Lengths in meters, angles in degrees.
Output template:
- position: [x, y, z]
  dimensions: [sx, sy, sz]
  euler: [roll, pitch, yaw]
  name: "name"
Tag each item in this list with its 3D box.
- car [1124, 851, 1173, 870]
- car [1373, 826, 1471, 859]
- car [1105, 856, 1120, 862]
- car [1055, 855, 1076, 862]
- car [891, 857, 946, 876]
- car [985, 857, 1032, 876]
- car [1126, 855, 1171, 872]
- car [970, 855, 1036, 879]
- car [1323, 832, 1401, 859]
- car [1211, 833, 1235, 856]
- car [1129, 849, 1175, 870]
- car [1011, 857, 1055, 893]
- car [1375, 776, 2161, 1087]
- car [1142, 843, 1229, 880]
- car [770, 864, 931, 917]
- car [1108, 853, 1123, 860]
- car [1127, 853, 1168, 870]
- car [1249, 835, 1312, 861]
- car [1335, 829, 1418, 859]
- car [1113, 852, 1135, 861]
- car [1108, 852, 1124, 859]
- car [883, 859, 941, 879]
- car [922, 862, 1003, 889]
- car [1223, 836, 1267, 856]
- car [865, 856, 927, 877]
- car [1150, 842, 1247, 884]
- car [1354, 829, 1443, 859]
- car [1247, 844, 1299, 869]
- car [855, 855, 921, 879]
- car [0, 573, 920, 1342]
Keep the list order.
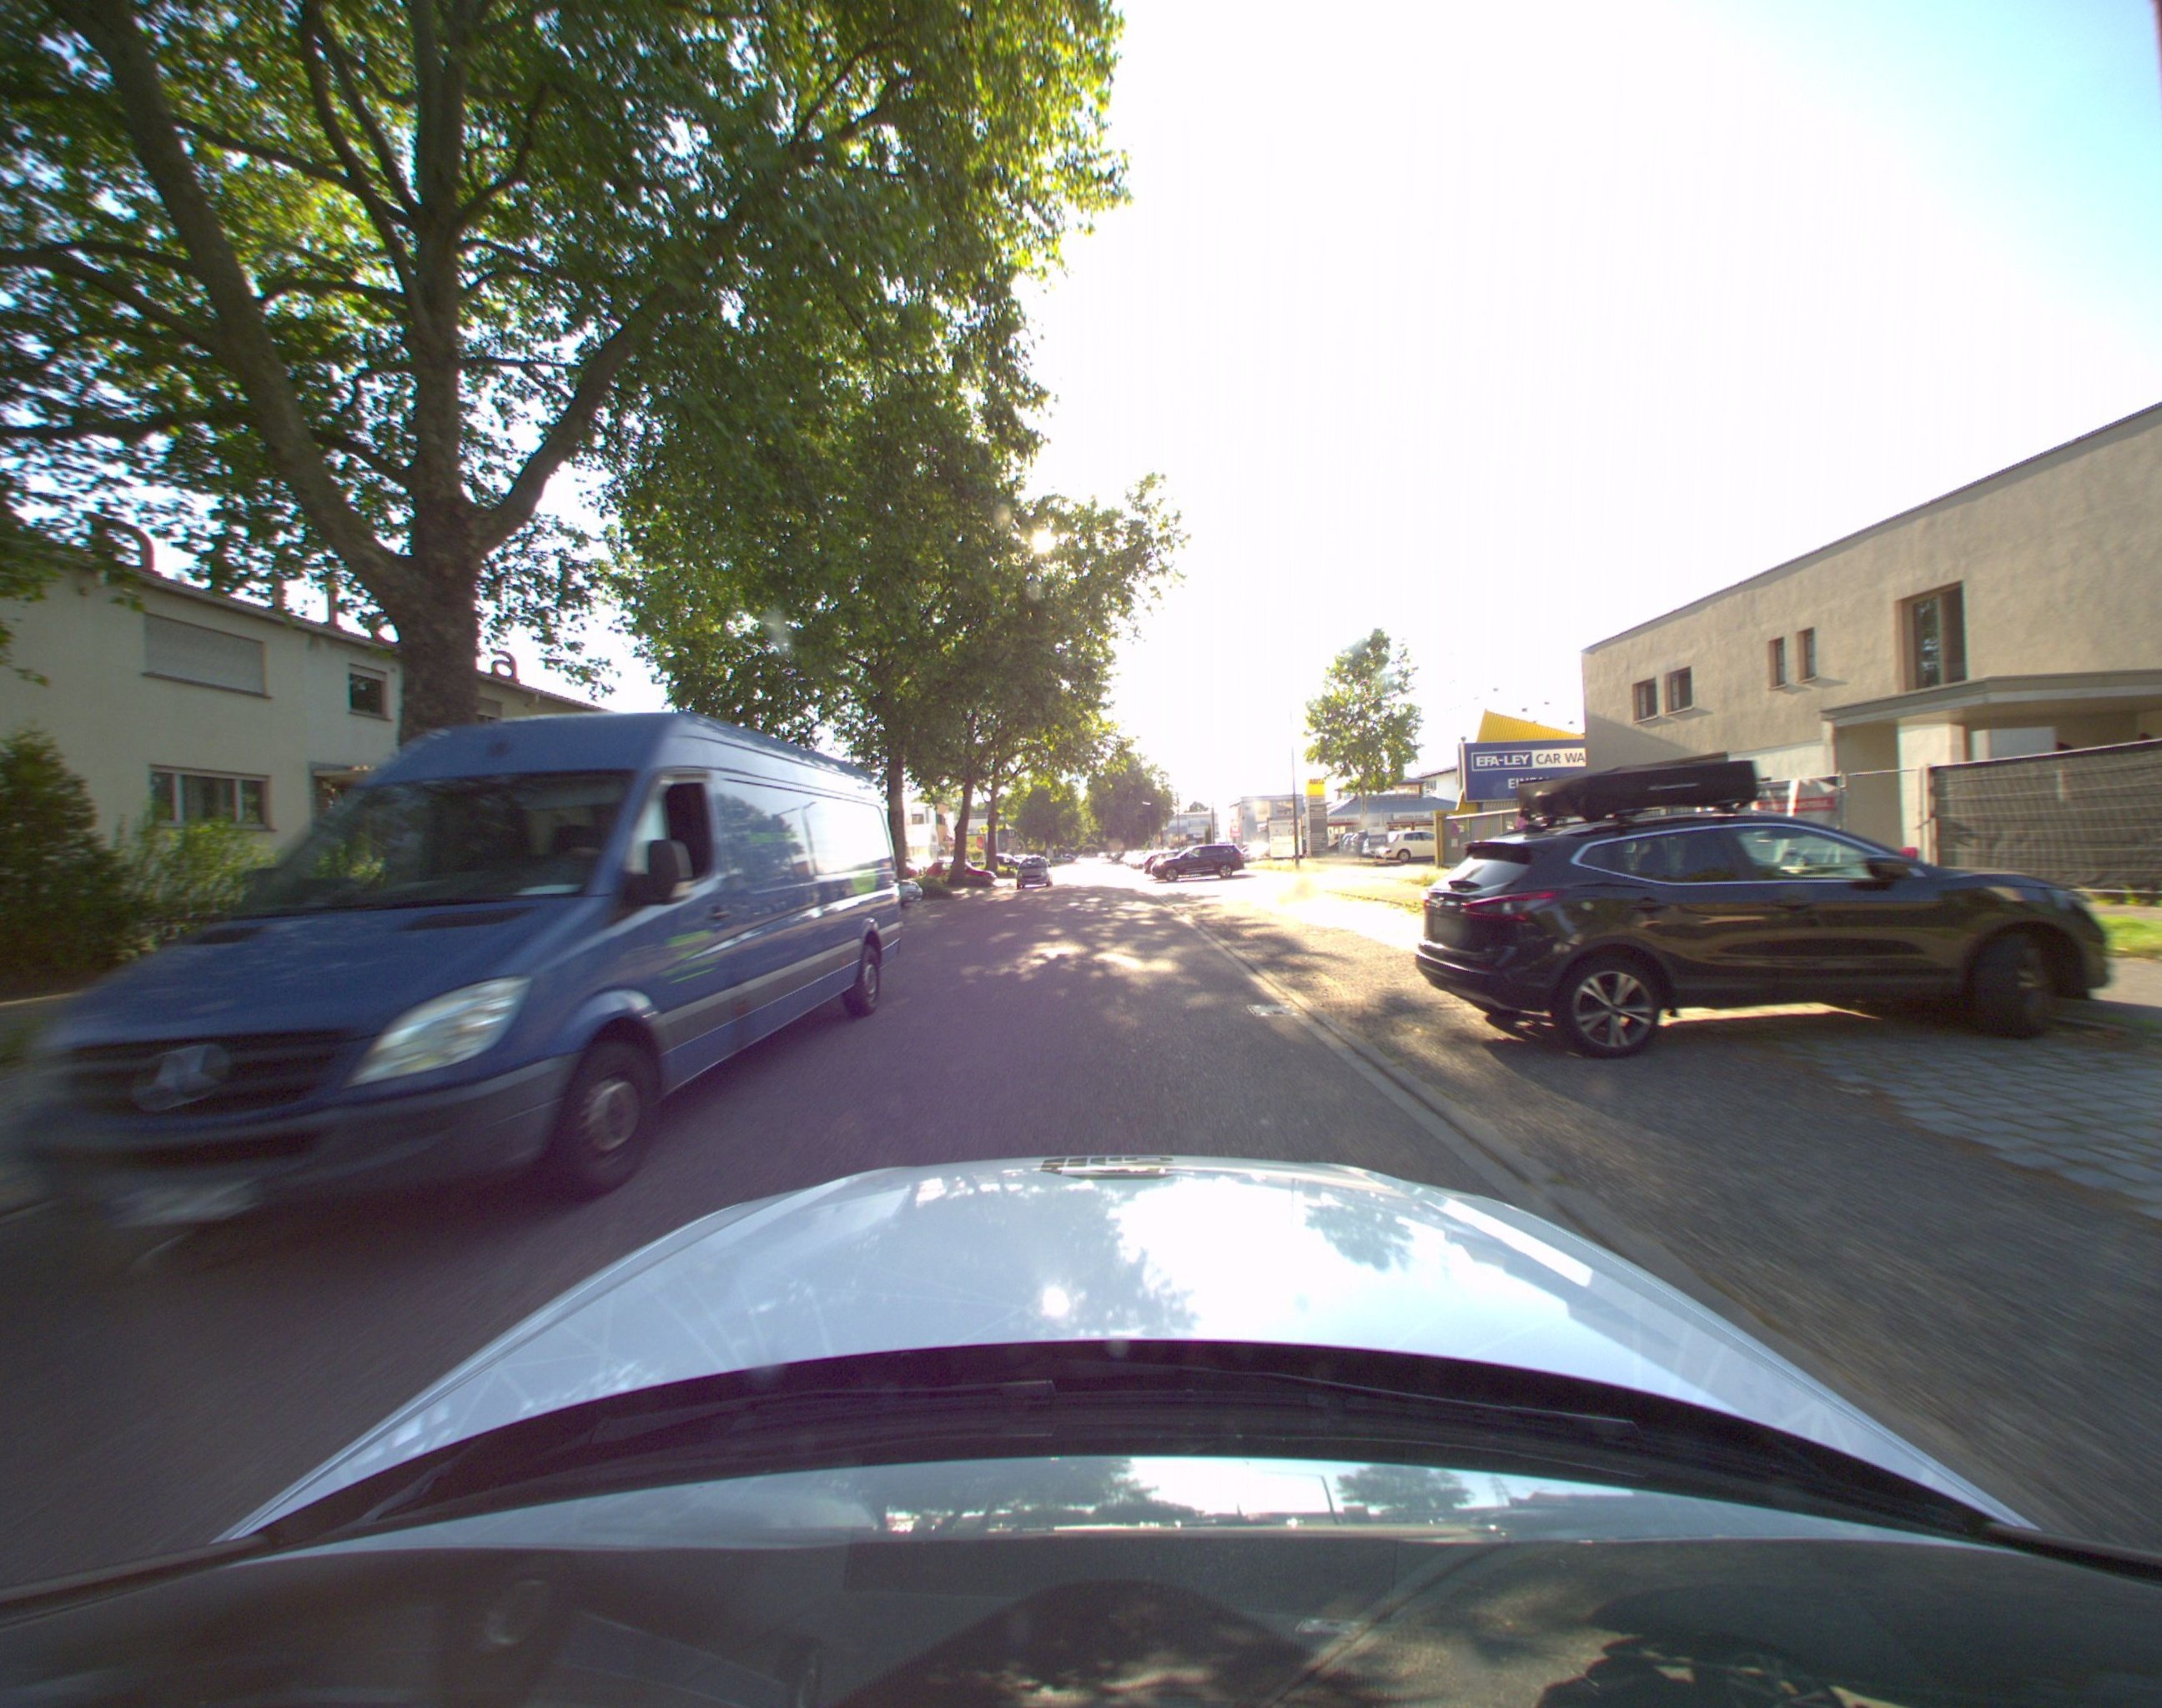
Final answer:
- position: [5.616, 0.524, 67.724]
  dimensions: [3.969, 1.296, 1.786]
  euler: [-4, 0, 3]
  name: "car"
- position: [16.774, -0.553, 40.137]
  dimensions: [3.978, 1.497, 1.998]
  euler: [-1, 0, -3]
  name: "car"
- position: [8.453, 1.280, 218.977]
  dimensions: [3.973, 1.415, 1.827]
  euler: [-3, 0, 1]
  name: "car"
- position: [-3.432, 0.973, 180.780]
  dimensions: [4.398, 1.517, 2.001]
  euler: [-1, 0, 2]
  name: "car"
- position: [-15.023, 1.149, 75.306]
  dimensions: [4.647, 1.592, 1.928]
  euler: [-1, 0, -1]
  name: "car"
- position: [-6.837, 1.157, 77.061]
  dimensions: [4.291, 1.656, 2.200]
  euler: [-1, -1, -2]
  name: "car"
- position: [6.783, 0.929, 82.091]
  dimensions: [4.233, 1.605, 1.744]
  euler: [-1, 0, -4]
  name: "car"
- position: [-6.511, 1.107, 68.660]
  dimensions: [5.241, 1.898, 2.202]
  euler: [-2, -1, 0]
  name: "car"
- position: [16.943, -0.514, 49.171]
  dimensions: [3.978, 1.519, 1.998]
  euler: [-1, 0, -3]
  name: "car"
- position: [17.378, -1.140, 99.846]
  dimensions: [1.986, 2.625, 6.139]
  euler: [-1, 0, 1]
  name: "car"
- position: [6.550, 0.482, 75.167]
  dimensions: [3.978, 1.588, 1.866]
  euler: [-4, 0, -3]
  name: "car"
- position: [-2.374, 1.012, 41.115]
  dimensions: [1.832, 1.571, 3.803]
  euler: [-5, 0, 1]
  name: "car"
- position: [4.955, 0.486, 6.208]
  dimensions: [4.611, 1.526, 1.999]
  euler: [-6, 0, -1]
  name: "car"
- position: [5.933, 0.450, 46.615]
  dimensions: [4.586, 1.613, 2.000]
  euler: [-6, -1, 0]
  name: "car"
- position: [-7.433, 1.156, 26.588]
  dimensions: [4.584, 1.422, 2.000]
  euler: [-3, 1, 0]
  name: "car"
- position: [9.387, 0.741, 222.959]
  dimensions: [3.973, 1.777, 1.827]
  euler: [-3, -1, 1]
  name: "car"
- position: [7.870, 0.876, 96.848]
  dimensions: [4.543, 1.597, 2.200]
  euler: [-6, -1, -2]
  name: "car"
- position: [15.915, -0.446, 65.144]
  dimensions: [4.480, 1.898, 2.202]
  euler: [-2, -1, 0]
  name: "car"
- position: [16.729, -0.544, 46.229]
  dimensions: [3.978, 1.595, 1.998]
  euler: [-1, 0, -3]
  name: "car"
- position: [8.006, 0.403, 152.242]
  dimensions: [3.973, 1.415, 1.827]
  euler: [-3, 0, 1]
  name: "car"
- position: [8.984, 0.360, 207.726]
  dimensions: [3.973, 1.415, 1.827]
  euler: [-3, 0, 1]
  name: "car"
- position: [-15.088, 1.298, 72.922]
  dimensions: [4.704, 1.643, 1.999]
  euler: [-1, 0, -1]
  name: "car"
- position: [-6.766, 1.234, 46.817]
  dimensions: [4.281, 1.446, 2.000]
  euler: [-1, -1, 0]
  name: "car"
- position: [17.233, -0.814, 85.860]
  dimensions: [4.129, 1.771, 2.001]
  euler: [-4, -1, 1]
  name: "car"
- position: [-15.461, 1.030, 68.124]
  dimensions: [4.699, 1.634, 1.999]
  euler: [-1, 0, -1]
  name: "car"
- position: [5.834, 0.443, 40.963]
  dimensions: [4.582, 1.579, 2.002]
  euler: [-6, -1, 3]
  name: "car"
- position: [16.925, -0.516, 43.514]
  dimensions: [3.978, 1.519, 1.951]
  euler: [-1, 0, -3]
  name: "car"
- position: [16.385, 0.195, 69.538]
  dimensions: [3.920, 1.898, 2.203]
  euler: [-2, 2, 0]
  name: "car"
- position: [-15.428, 1.036, 65.281]
  dimensions: [4.731, 1.819, 1.999]
  euler: [-1, 0, -1]
  name: "car"
- position: [-3.178, 0.343, 6.414]
  dimensions: [2.120, 2.659, 7.004]
  euler: [-3, 1, 1]
  name: "car"
